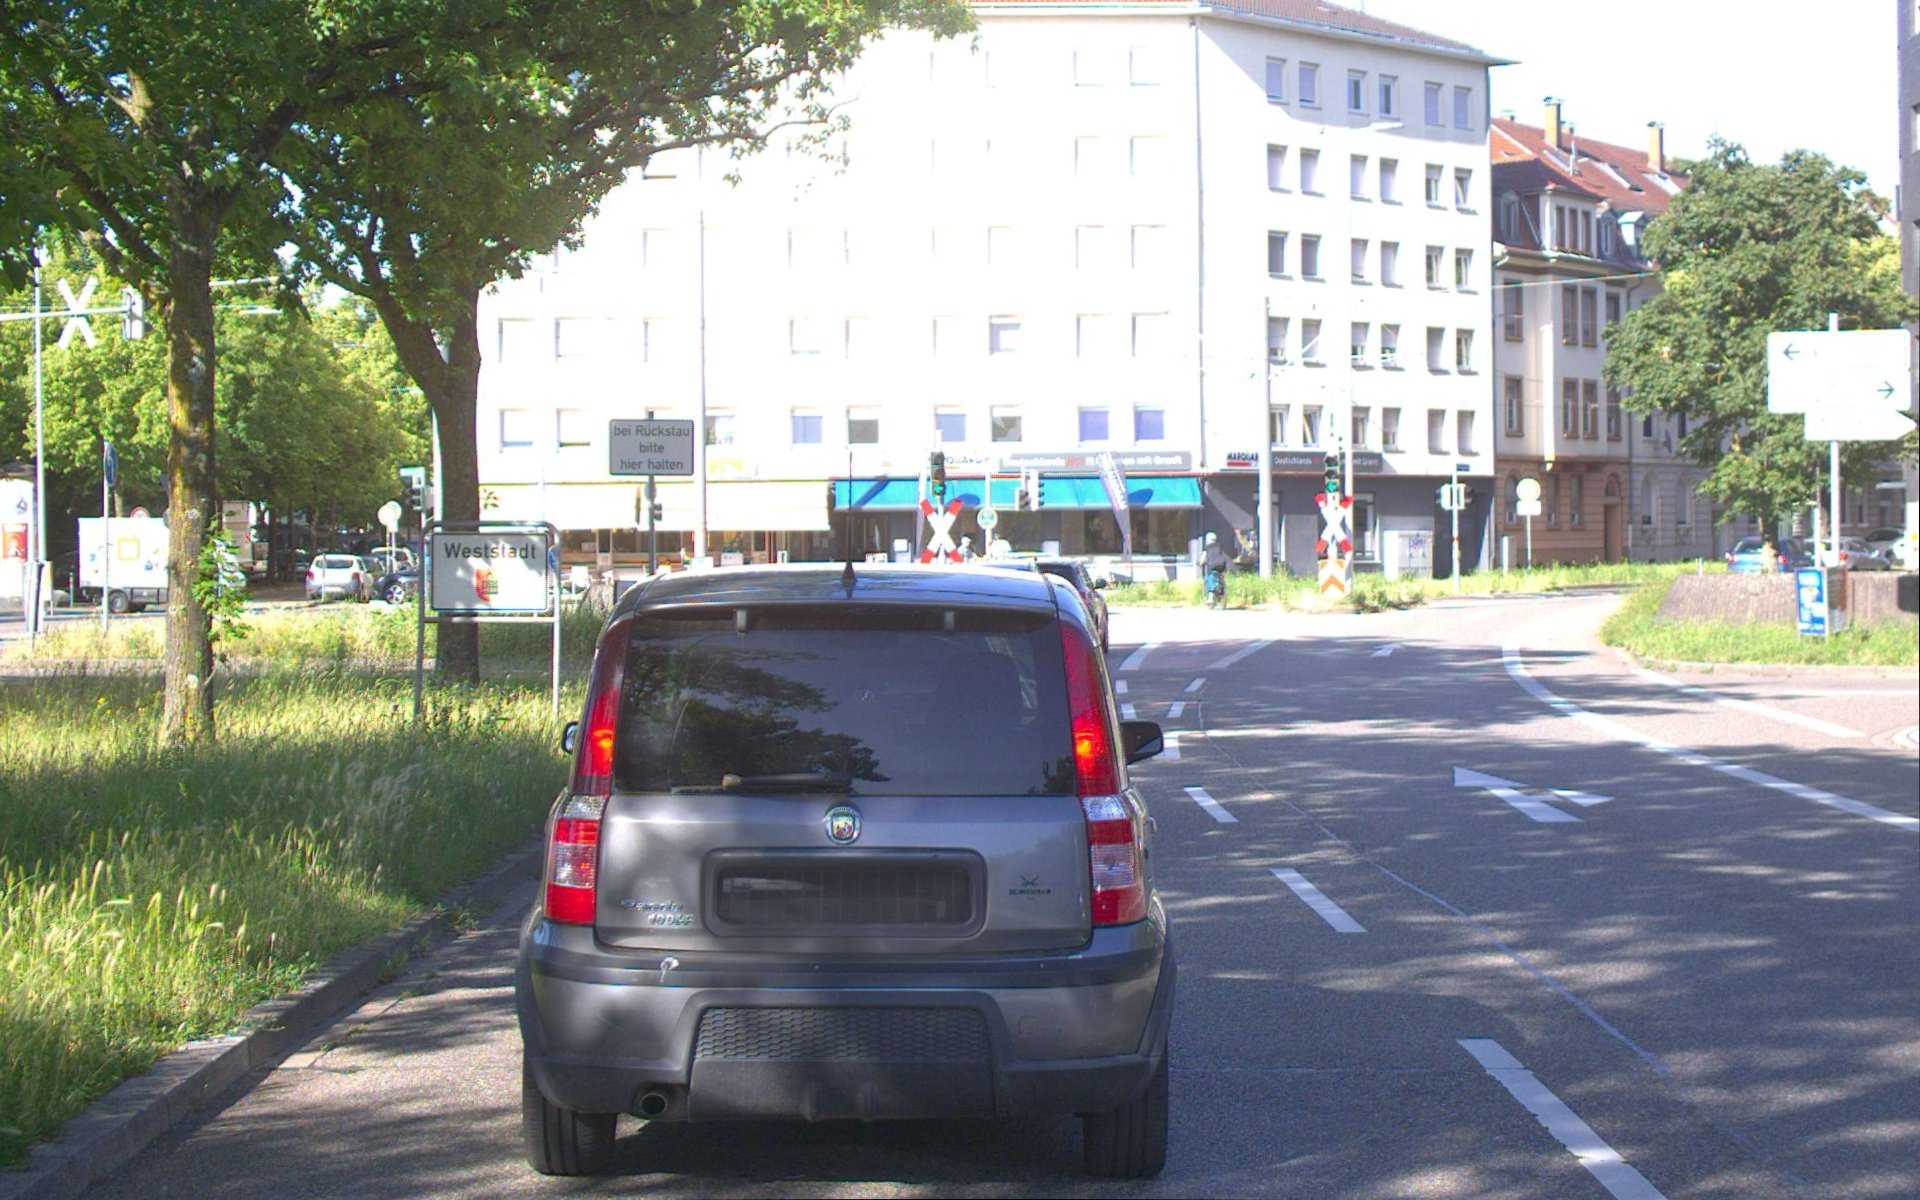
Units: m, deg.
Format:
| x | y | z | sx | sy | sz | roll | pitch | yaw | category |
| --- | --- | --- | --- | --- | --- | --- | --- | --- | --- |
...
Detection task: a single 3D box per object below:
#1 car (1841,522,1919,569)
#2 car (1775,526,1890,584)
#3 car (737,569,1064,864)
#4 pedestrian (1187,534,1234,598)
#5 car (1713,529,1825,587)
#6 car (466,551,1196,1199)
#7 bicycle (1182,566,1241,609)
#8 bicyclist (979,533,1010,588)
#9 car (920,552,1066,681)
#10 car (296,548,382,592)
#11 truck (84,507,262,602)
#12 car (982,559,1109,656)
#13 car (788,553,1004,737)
| x | y | z | sx | sy | sz | roll | pitch | yaw | category |
| --- | --- | --- | --- | --- | --- | --- | --- | --- | --- |
| 32.636 | -1.922 | 120.137 | 1.904 | 1.588 | 4.001 | -1 | 1 | -13 | car |
| 23.785 | -1.234 | 93.636 | 1.823 | 1.503 | 3.993 | 0 | 2 | 33 | car |
| -0.318 | 0.564 | 19.011 | 1.621 | 1.424 | 3.688 | -1 | 1 | -1 | car |
| 5.613 | -0.762 | 76.966 | 0.773 | 1.423 | 0.939 | 1 | 0 | -14 | pedestrian |
| 21.086 | -1.115 | 89.509 | 1.778 | 1.437 | 3.612 | 1 | 2 | 32 | car |
| -0.266 | 0.631 | 9.510 | 1.660 | 1.505 | 3.251 | 0 | 1 | 1 | car |
| 5.617 | -0.287 | 76.900 | 0.782 | 0.948 | 1.857 | 1 | 0 | -14 | bicycle |
| 0.843 | -0.983 | 85.036 | 0.530 | 1.352 | 0.597 | -1 | 1 | -29 | bicyclist |
| 0.404 | 0.168 | 40.721 | 1.646 | 1.433 | 3.396 | 0 | 1 | 1 | car |
| -19.366 | -0.959 | 107.304 | 1.993 | 1.305 | 4.000 | -1 | 1 | -1 | car |
| -20.323 | -1.168 | 88.828 | 4.098 | 2.418 | 1.793 | 0 | 1 | 9 | truck |
| 1.285 | 0.083 | 50.421 | 1.691 | 1.249 | 3.626 | -1 | 2 | 4 | car |
| -0.629 | 0.339 | 30.386 | 1.760 | 1.481 | 4.294 | -1 | 1 | -3 | car |
